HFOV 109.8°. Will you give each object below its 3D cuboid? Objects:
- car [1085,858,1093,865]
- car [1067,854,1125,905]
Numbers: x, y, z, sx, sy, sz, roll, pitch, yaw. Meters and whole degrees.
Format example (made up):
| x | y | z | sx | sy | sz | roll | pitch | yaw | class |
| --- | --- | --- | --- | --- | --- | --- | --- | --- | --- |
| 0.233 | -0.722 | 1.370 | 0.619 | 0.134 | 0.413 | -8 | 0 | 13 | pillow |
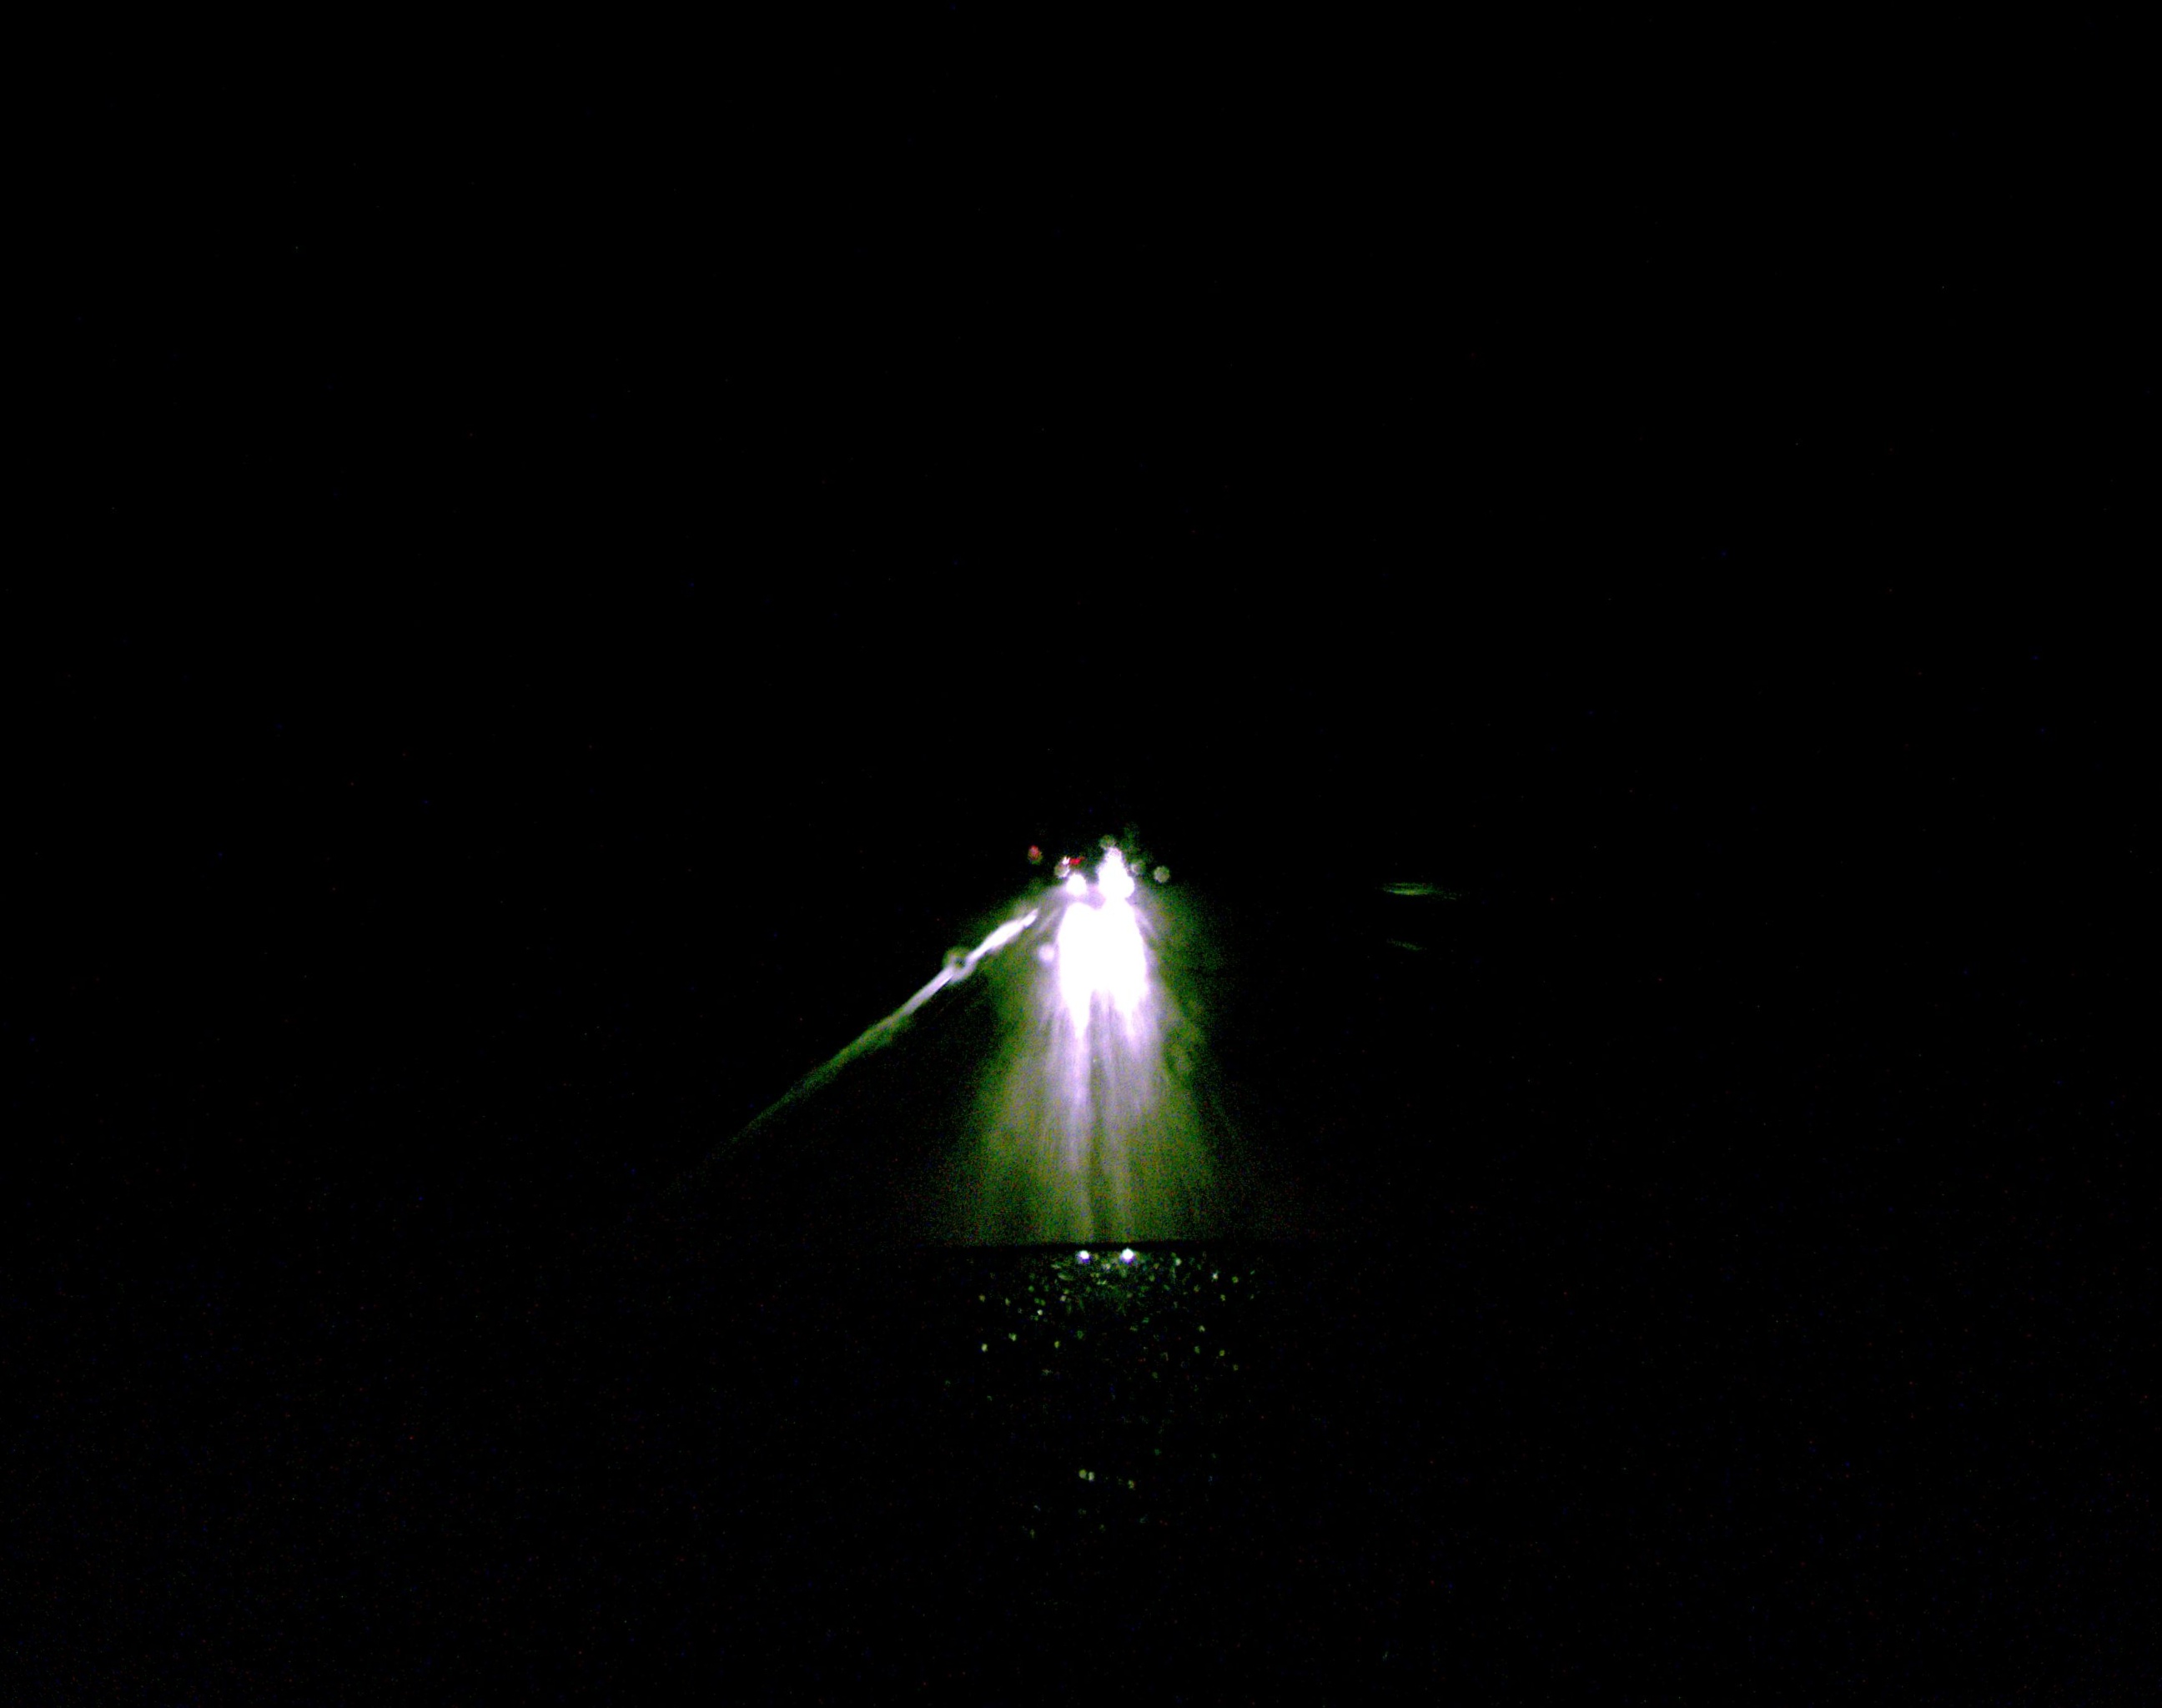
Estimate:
| x | y | z | sx | sy | sz | roll | pitch | yaw | class |
| --- | --- | --- | --- | --- | --- | --- | --- | --- | --- |
| 2.212 | 2.130 | 210.707 | 1.894 | 1.628 | 4.155 | -5 | 0 | 0 | car |
| 0.566 | 0.911 | 28.595 | 1.862 | 1.601 | 4.420 | -6 | -1 | 1 | car |
